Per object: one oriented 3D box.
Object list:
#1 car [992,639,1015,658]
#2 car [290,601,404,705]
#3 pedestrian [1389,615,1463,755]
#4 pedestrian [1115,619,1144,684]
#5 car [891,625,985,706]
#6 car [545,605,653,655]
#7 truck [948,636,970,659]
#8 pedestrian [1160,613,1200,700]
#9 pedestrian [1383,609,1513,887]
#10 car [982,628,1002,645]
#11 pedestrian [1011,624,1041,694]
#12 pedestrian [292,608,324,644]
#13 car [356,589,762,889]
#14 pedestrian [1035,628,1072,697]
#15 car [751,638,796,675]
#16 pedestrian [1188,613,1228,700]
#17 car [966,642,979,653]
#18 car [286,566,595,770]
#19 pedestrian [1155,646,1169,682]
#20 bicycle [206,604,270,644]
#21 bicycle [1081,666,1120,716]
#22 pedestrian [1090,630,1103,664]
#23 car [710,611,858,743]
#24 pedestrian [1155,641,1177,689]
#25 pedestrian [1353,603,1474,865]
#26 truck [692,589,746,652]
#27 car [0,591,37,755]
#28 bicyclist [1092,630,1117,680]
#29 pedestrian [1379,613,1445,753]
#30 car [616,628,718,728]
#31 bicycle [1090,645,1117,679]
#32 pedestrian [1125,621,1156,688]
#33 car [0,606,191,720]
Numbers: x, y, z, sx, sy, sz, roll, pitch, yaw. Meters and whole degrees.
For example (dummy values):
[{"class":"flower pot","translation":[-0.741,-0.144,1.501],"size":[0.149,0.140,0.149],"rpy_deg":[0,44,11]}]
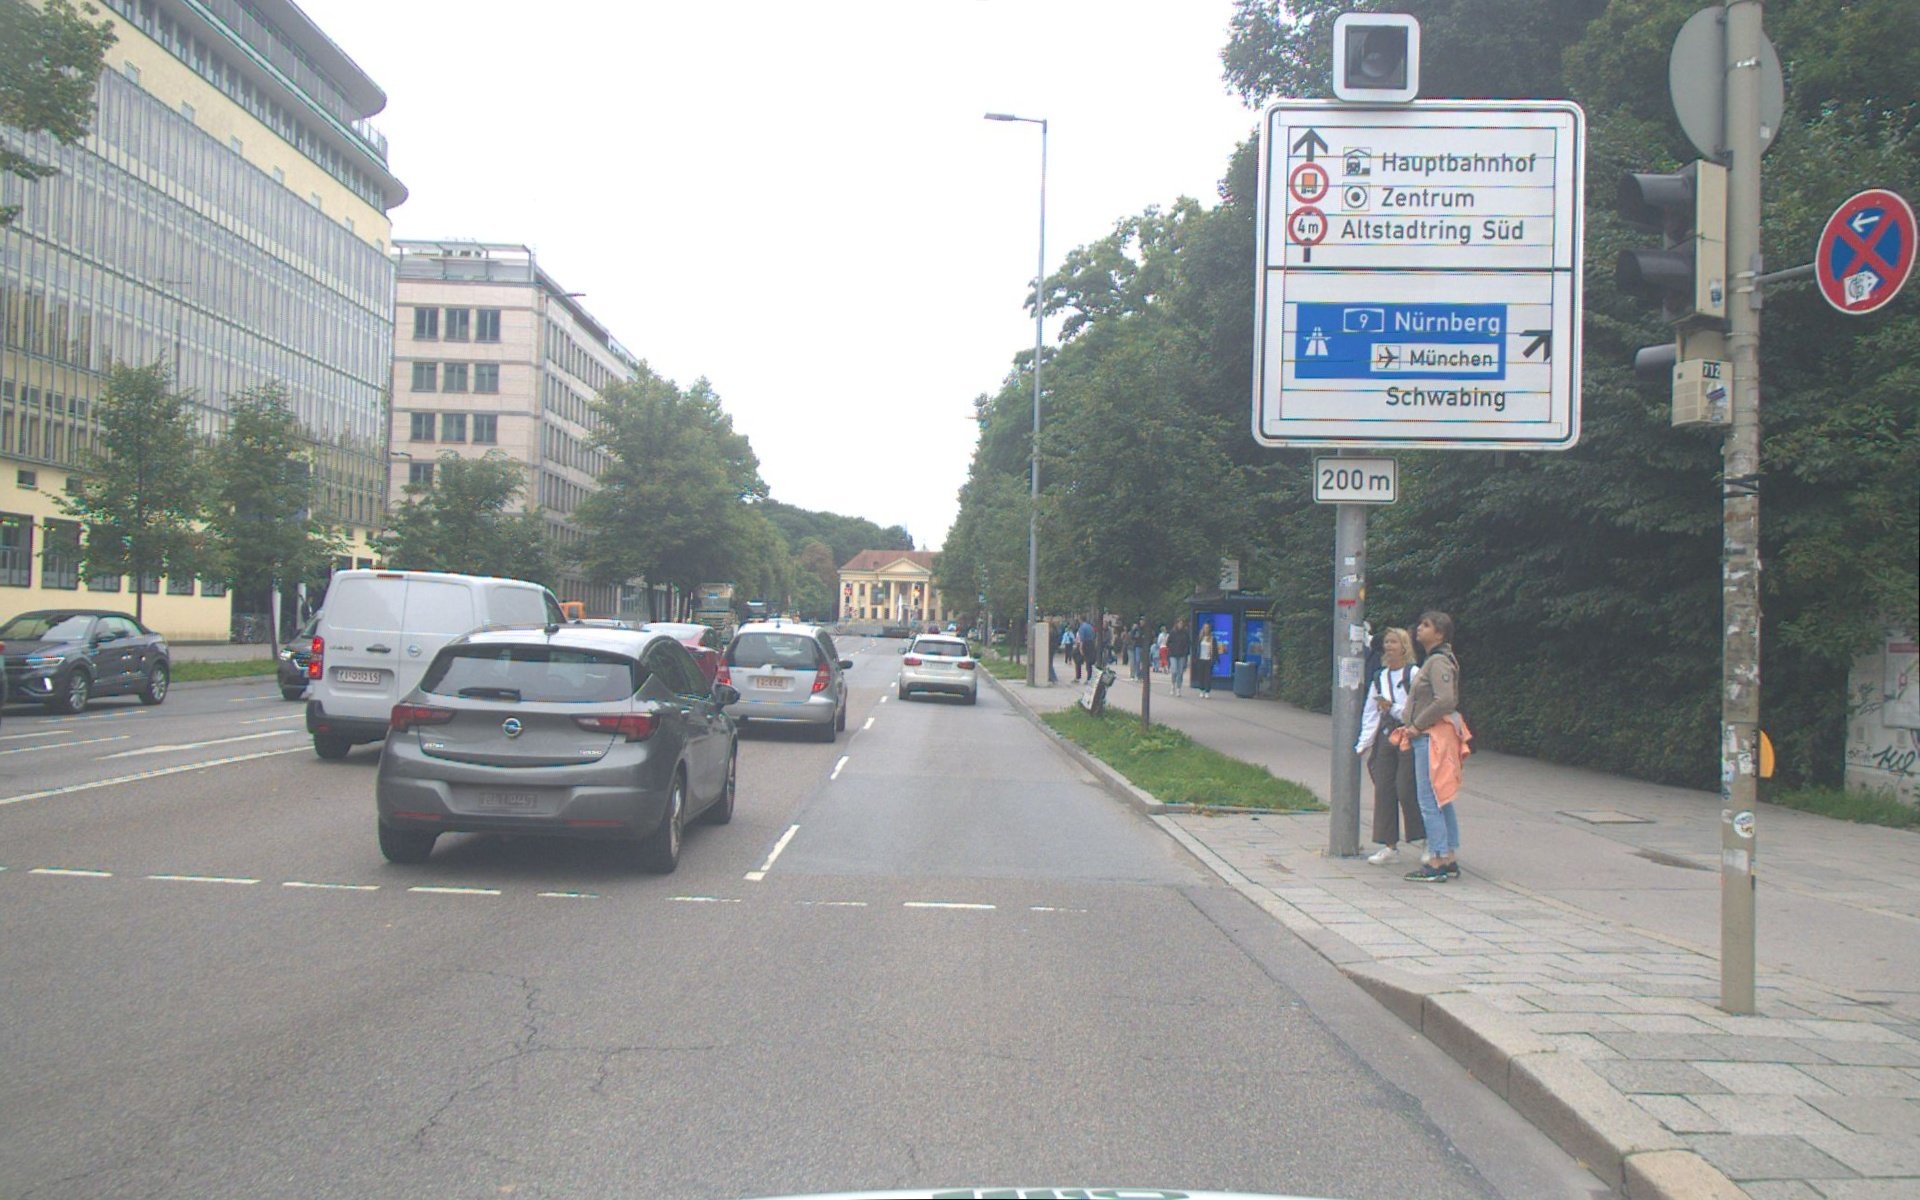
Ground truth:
[{"class":"car","translation":[3.721,4.160,142.063],"size":[1.790,1.577,4.751],"rpy_deg":[1,-1,0]},{"class":"car","translation":[-11.411,0.953,30.849],"size":[1.801,1.780,4.234],"rpy_deg":[2,-1,-20]},{"class":"pedestrian","translation":[6.452,1.166,22.935],"size":[0.735,1.871,0.756],"rpy_deg":[3,-1,0]},{"class":"pedestrian","translation":[4.925,1.491,48.104],"size":[0.693,1.840,0.638],"rpy_deg":[3,-1,-1]},{"class":"car","translation":[-0.564,1.460,38.053],"size":[1.745,1.673,3.995],"rpy_deg":[3,-1,-6]},{"class":"car","translation":[-20.050,1.663,92.148],"size":[5.569,2.581,2.154],"rpy_deg":[2,-1,-5]},{"class":"truck","translation":[-0.141,7.550,264.322],"size":[3.258,3.426,8.660],"rpy_deg":[3,-1,-1]},{"class":"pedestrian","translation":[5.062,1.301,38.163],"size":[0.693,1.949,0.956],"rpy_deg":[3,-1,-1]},{"class":"pedestrian","translation":[3.242,0.962,11.025],"size":[0.597,1.791,0.635],"rpy_deg":[1,-1,-7]},{"class":"car","translation":[2.952,3.404,154.266],"size":[1.689,1.490,4.775],"rpy_deg":[1,-1,0]},{"class":"pedestrian","translation":[1.772,1.572,44.427],"size":[0.693,1.840,0.638],"rpy_deg":[3,-1,-1]},{"class":"pedestrian","translation":[-25.800,1.012,65.499],"size":[0.820,1.388,1.086],"rpy_deg":[1,-1,-1]},{"class":"car","translation":[-2.466,0.798,11.194],"size":[1.675,1.579,4.000],"rpy_deg":[3,-1,0]},{"class":"pedestrian","translation":[2.675,1.776,47.281],"size":[0.790,1.914,0.542],"rpy_deg":[2,-1,35]},{"class":"car","translation":[-9.434,2.832,83.929],"size":[1.819,1.779,4.629],"rpy_deg":[0,-1,-1]},{"class":"pedestrian","translation":[5.706,1.284,38.071],"size":[0.693,1.949,0.956],"rpy_deg":[3,-1,-1]},{"class":"car","translation":[1.690,6.476,227.015],"size":[1.689,1.347,4.027],"rpy_deg":[1,1,0]},{"class":"car","translation":[-5.454,0.683,18.111],"size":[1.860,1.880,4.954],"rpy_deg":[2,-1,-1]},{"class":"pedestrian","translation":[7.654,2.416,62.688],"size":[0.448,1.349,0.648],"rpy_deg":[3,-1,4]},{"class":"bicycle","translation":[-26.438,0.878,60.582],"size":[1.970,1.341,0.574],"rpy_deg":[3,-1,-7]},{"class":"bicycle","translation":[2.532,1.635,29.956],"size":[0.483,0.808,1.889],"rpy_deg":[3,-1,-1]},{"class":"pedestrian","translation":[7.615,2.646,92.379],"size":[0.576,1.854,0.850],"rpy_deg":[3,-1,0]},{"class":"car","translation":[-2.481,1.053,24.134],"size":[1.743,1.683,3.999],"rpy_deg":[3,-1,-1]},{"class":"pedestrian","translation":[7.607,2.402,61.108],"size":[0.711,1.720,0.648],"rpy_deg":[3,-1,4]},{"class":"pedestrian","translation":[3.203,0.926,11.717],"size":[0.612,1.792,0.635],"rpy_deg":[2,-1,-5]},{"class":"truck","translation":[-15.670,1.332,108.035],"size":[2.859,3.840,7.657],"rpy_deg":[3,-1,-5]},{"class":"car","translation":[-10.742,0.724,15.471],"size":[1.802,1.685,4.349],"rpy_deg":[0,-1,-1]},{"class":"bicyclist","translation":[4.742,1.819,54.425],"size":[0.693,1.589,0.638],"rpy_deg":[3,-1,-1]},{"class":"pedestrian","translation":[6.240,1.137,22.860],"size":[0.657,1.871,0.641],"rpy_deg":[3,-1,0]},{"class":"car","translation":[-5.645,1.461,32.120],"size":[1.746,1.683,3.991],"rpy_deg":[3,-1,-9]},{"class":"bicycle","translation":[4.717,2.035,54.445],"size":[0.661,1.048,2.012],"rpy_deg":[3,-1,-1]},{"class":"pedestrian","translation":[5.112,1.544,46.902],"size":[0.693,1.840,0.950],"rpy_deg":[3,-1,-1]},{"class":"car","translation":[-13.816,0.926,25.824],"size":[1.699,1.604,4.056],"rpy_deg":[2,-1,-1]}]
